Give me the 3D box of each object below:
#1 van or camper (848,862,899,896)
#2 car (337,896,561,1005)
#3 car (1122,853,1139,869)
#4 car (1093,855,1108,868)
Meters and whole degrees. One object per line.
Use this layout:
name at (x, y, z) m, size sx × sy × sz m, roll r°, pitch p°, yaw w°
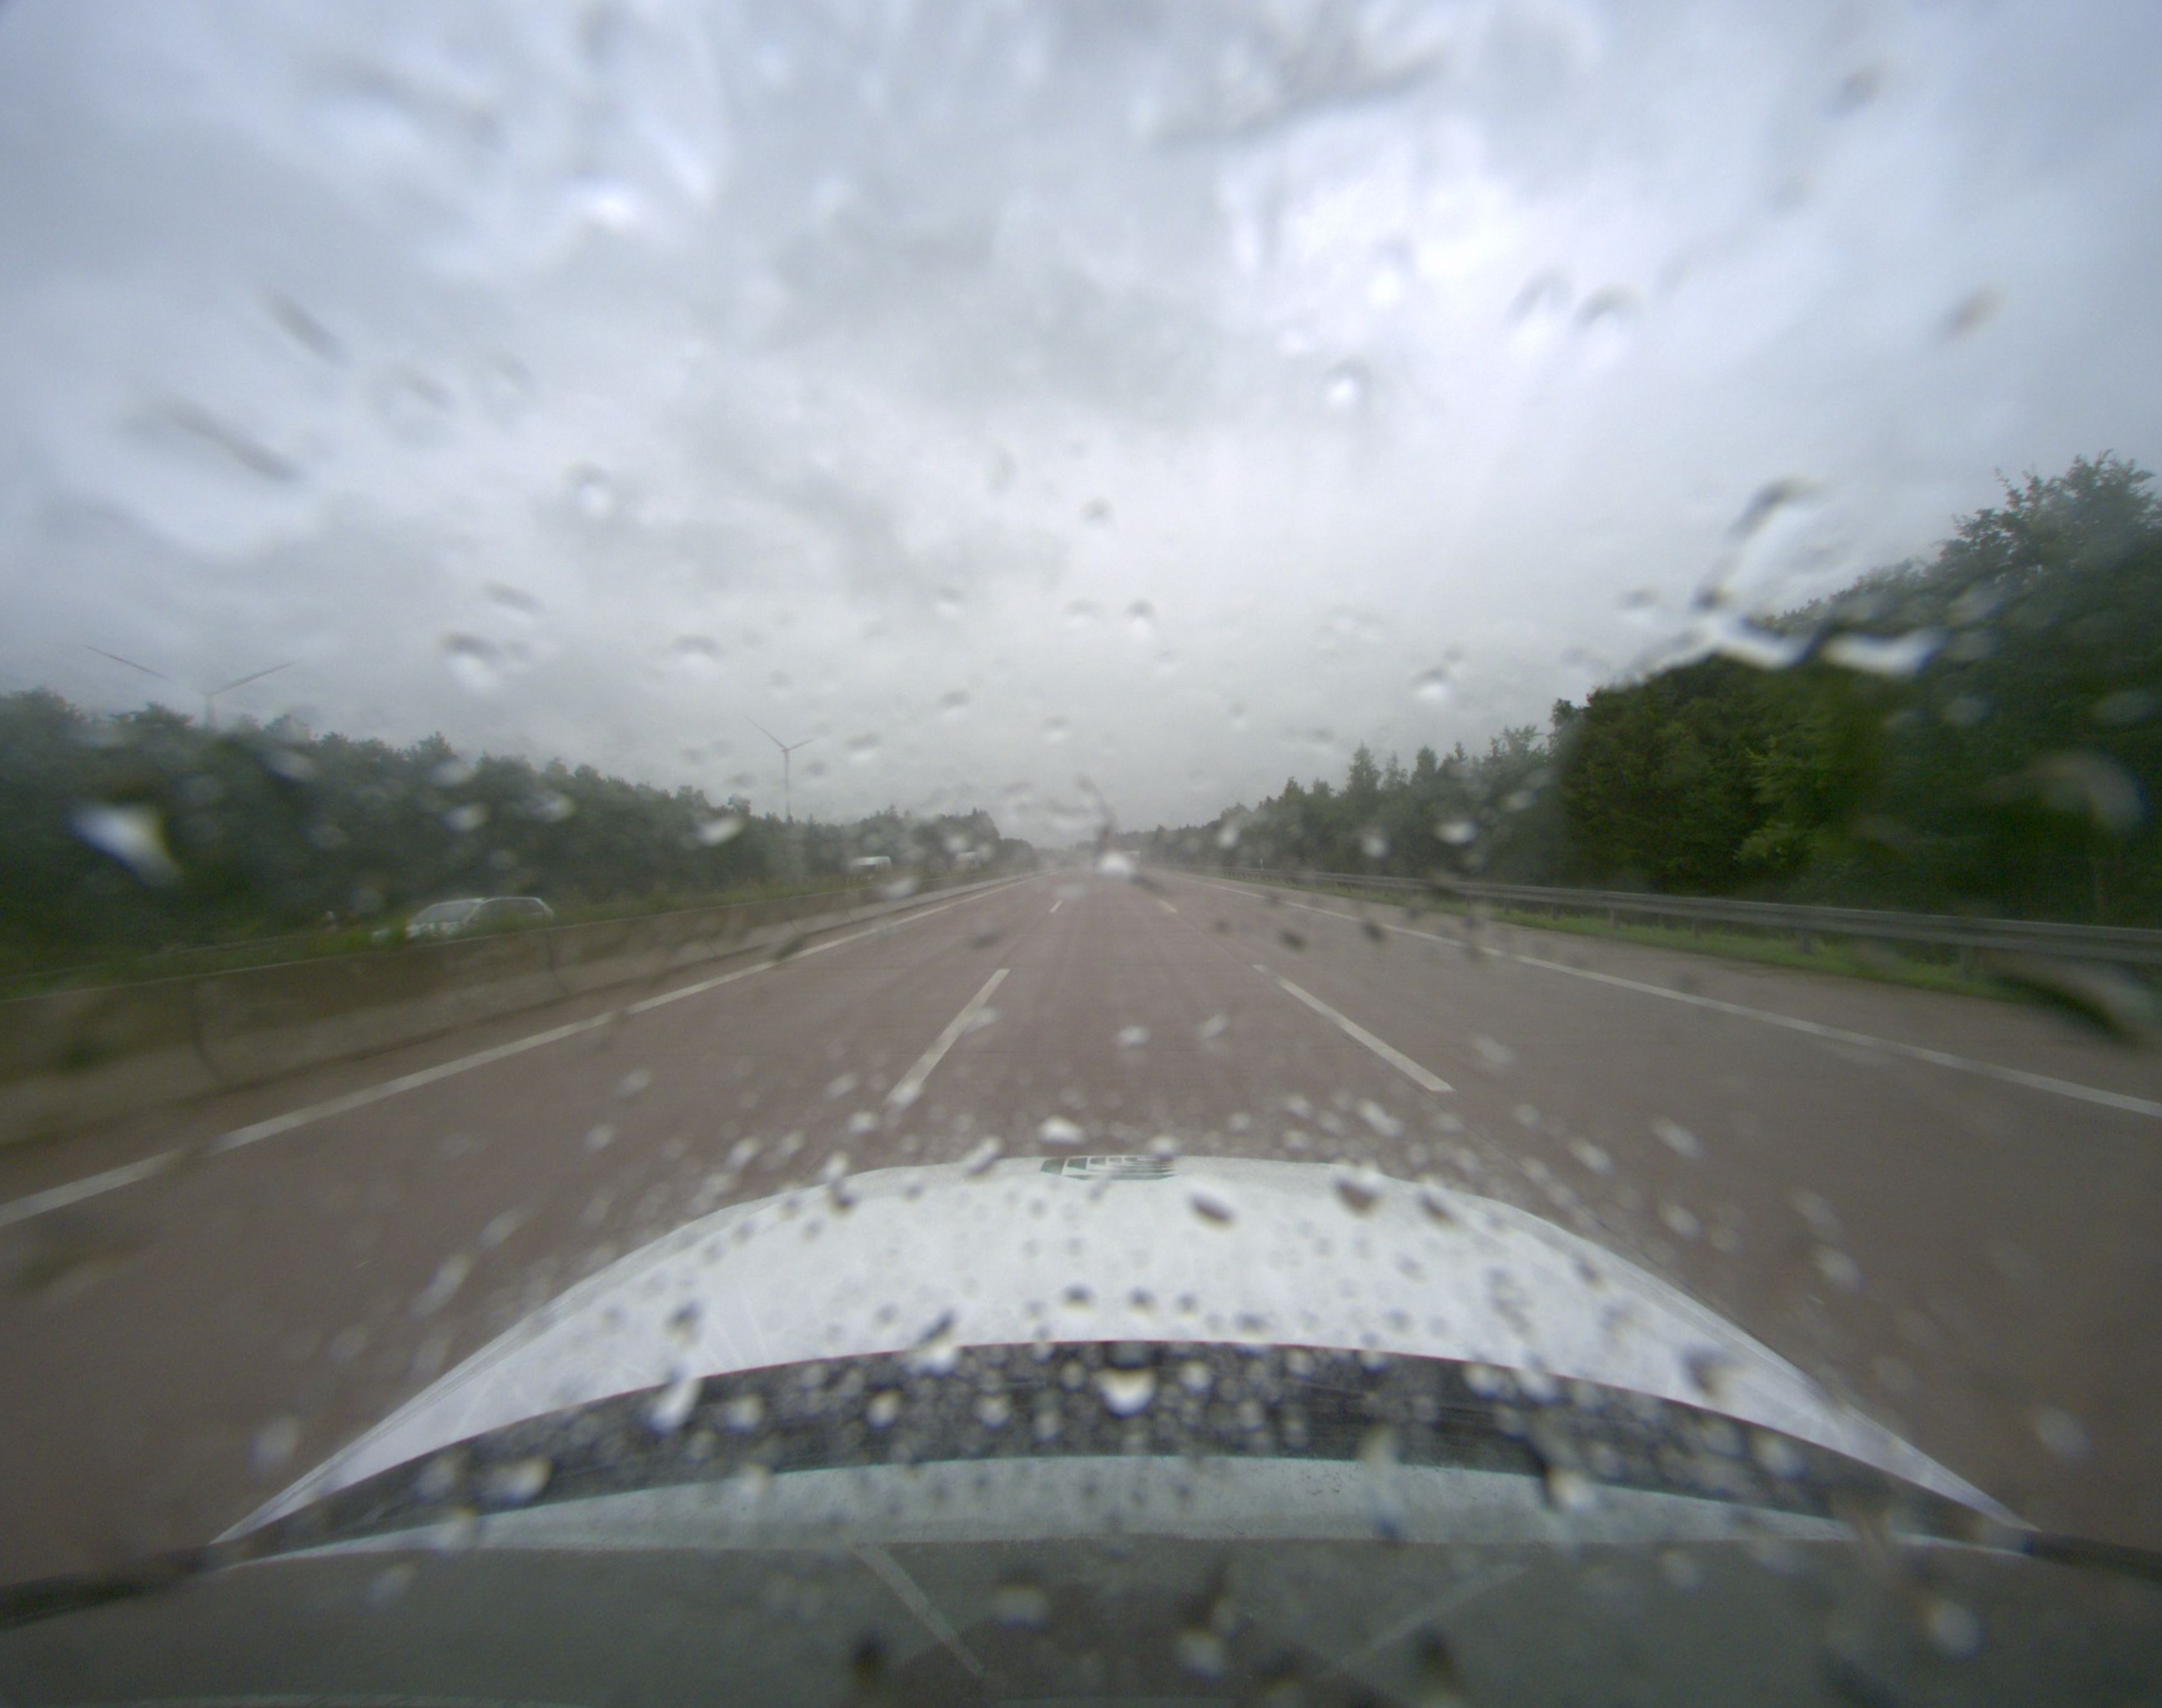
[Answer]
van or camper at (-14.483, 1.705, 57.263) m, size 2.123 × 2.205 × 5.720 m, roll -1°, pitch 0°, yaw -1°
car at (-14.420, 2.112, 18.943) m, size 1.987 × 2.013 × 3.999 m, roll 2°, pitch 0°, yaw -1°
car at (6.319, 0.895, 104.865) m, size 2.050 × 2.000 × 4.100 m, roll 2°, pitch 0°, yaw 2°
car at (2.727, 1.000, 113.871) m, size 1.930 × 1.729 × 4.132 m, roll -1°, pitch 0°, yaw 2°
